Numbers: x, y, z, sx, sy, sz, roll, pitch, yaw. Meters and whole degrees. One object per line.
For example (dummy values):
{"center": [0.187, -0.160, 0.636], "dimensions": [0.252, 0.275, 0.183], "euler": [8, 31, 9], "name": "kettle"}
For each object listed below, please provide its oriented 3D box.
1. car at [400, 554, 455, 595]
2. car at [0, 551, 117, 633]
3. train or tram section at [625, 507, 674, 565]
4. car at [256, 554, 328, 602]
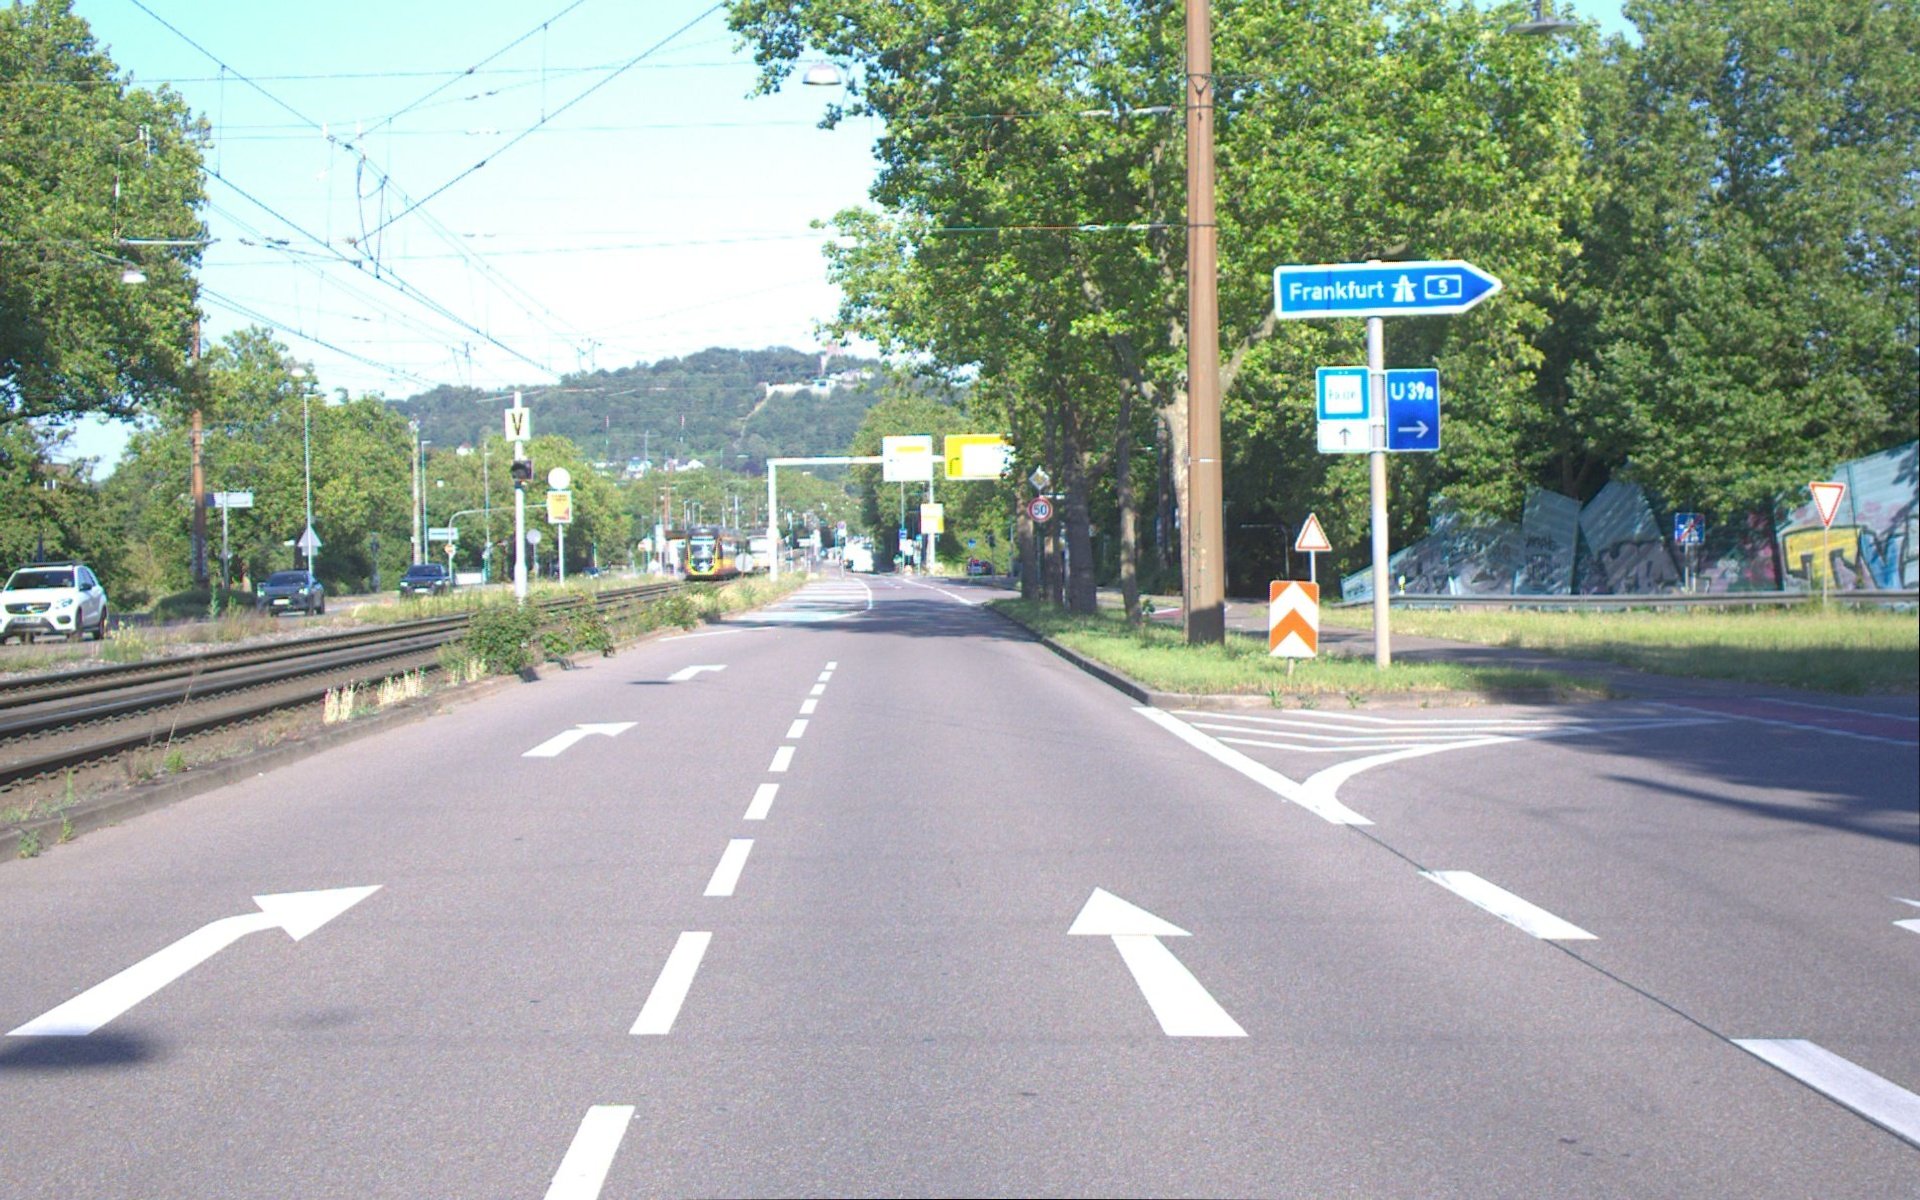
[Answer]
{"center": [-23.753, -1.153, 153.514], "dimensions": [1.898, 1.688, 4.942], "euler": [-3, 1, -3], "name": "car"}
{"center": [-20.420, -0.179, 77.236], "dimensions": [1.962, 1.701, 4.945], "euler": [-3, 1, -4], "name": "car"}
{"center": [-21.532, -4.386, 239.106], "dimensions": [2.804, 3.889, 12.333], "euler": [0, 1, -2], "name": "train or tram section"}
{"center": [-22.392, -0.754, 115.372], "dimensions": [1.710, 1.463, 4.348], "euler": [-3, 1, -3], "name": "car"}
